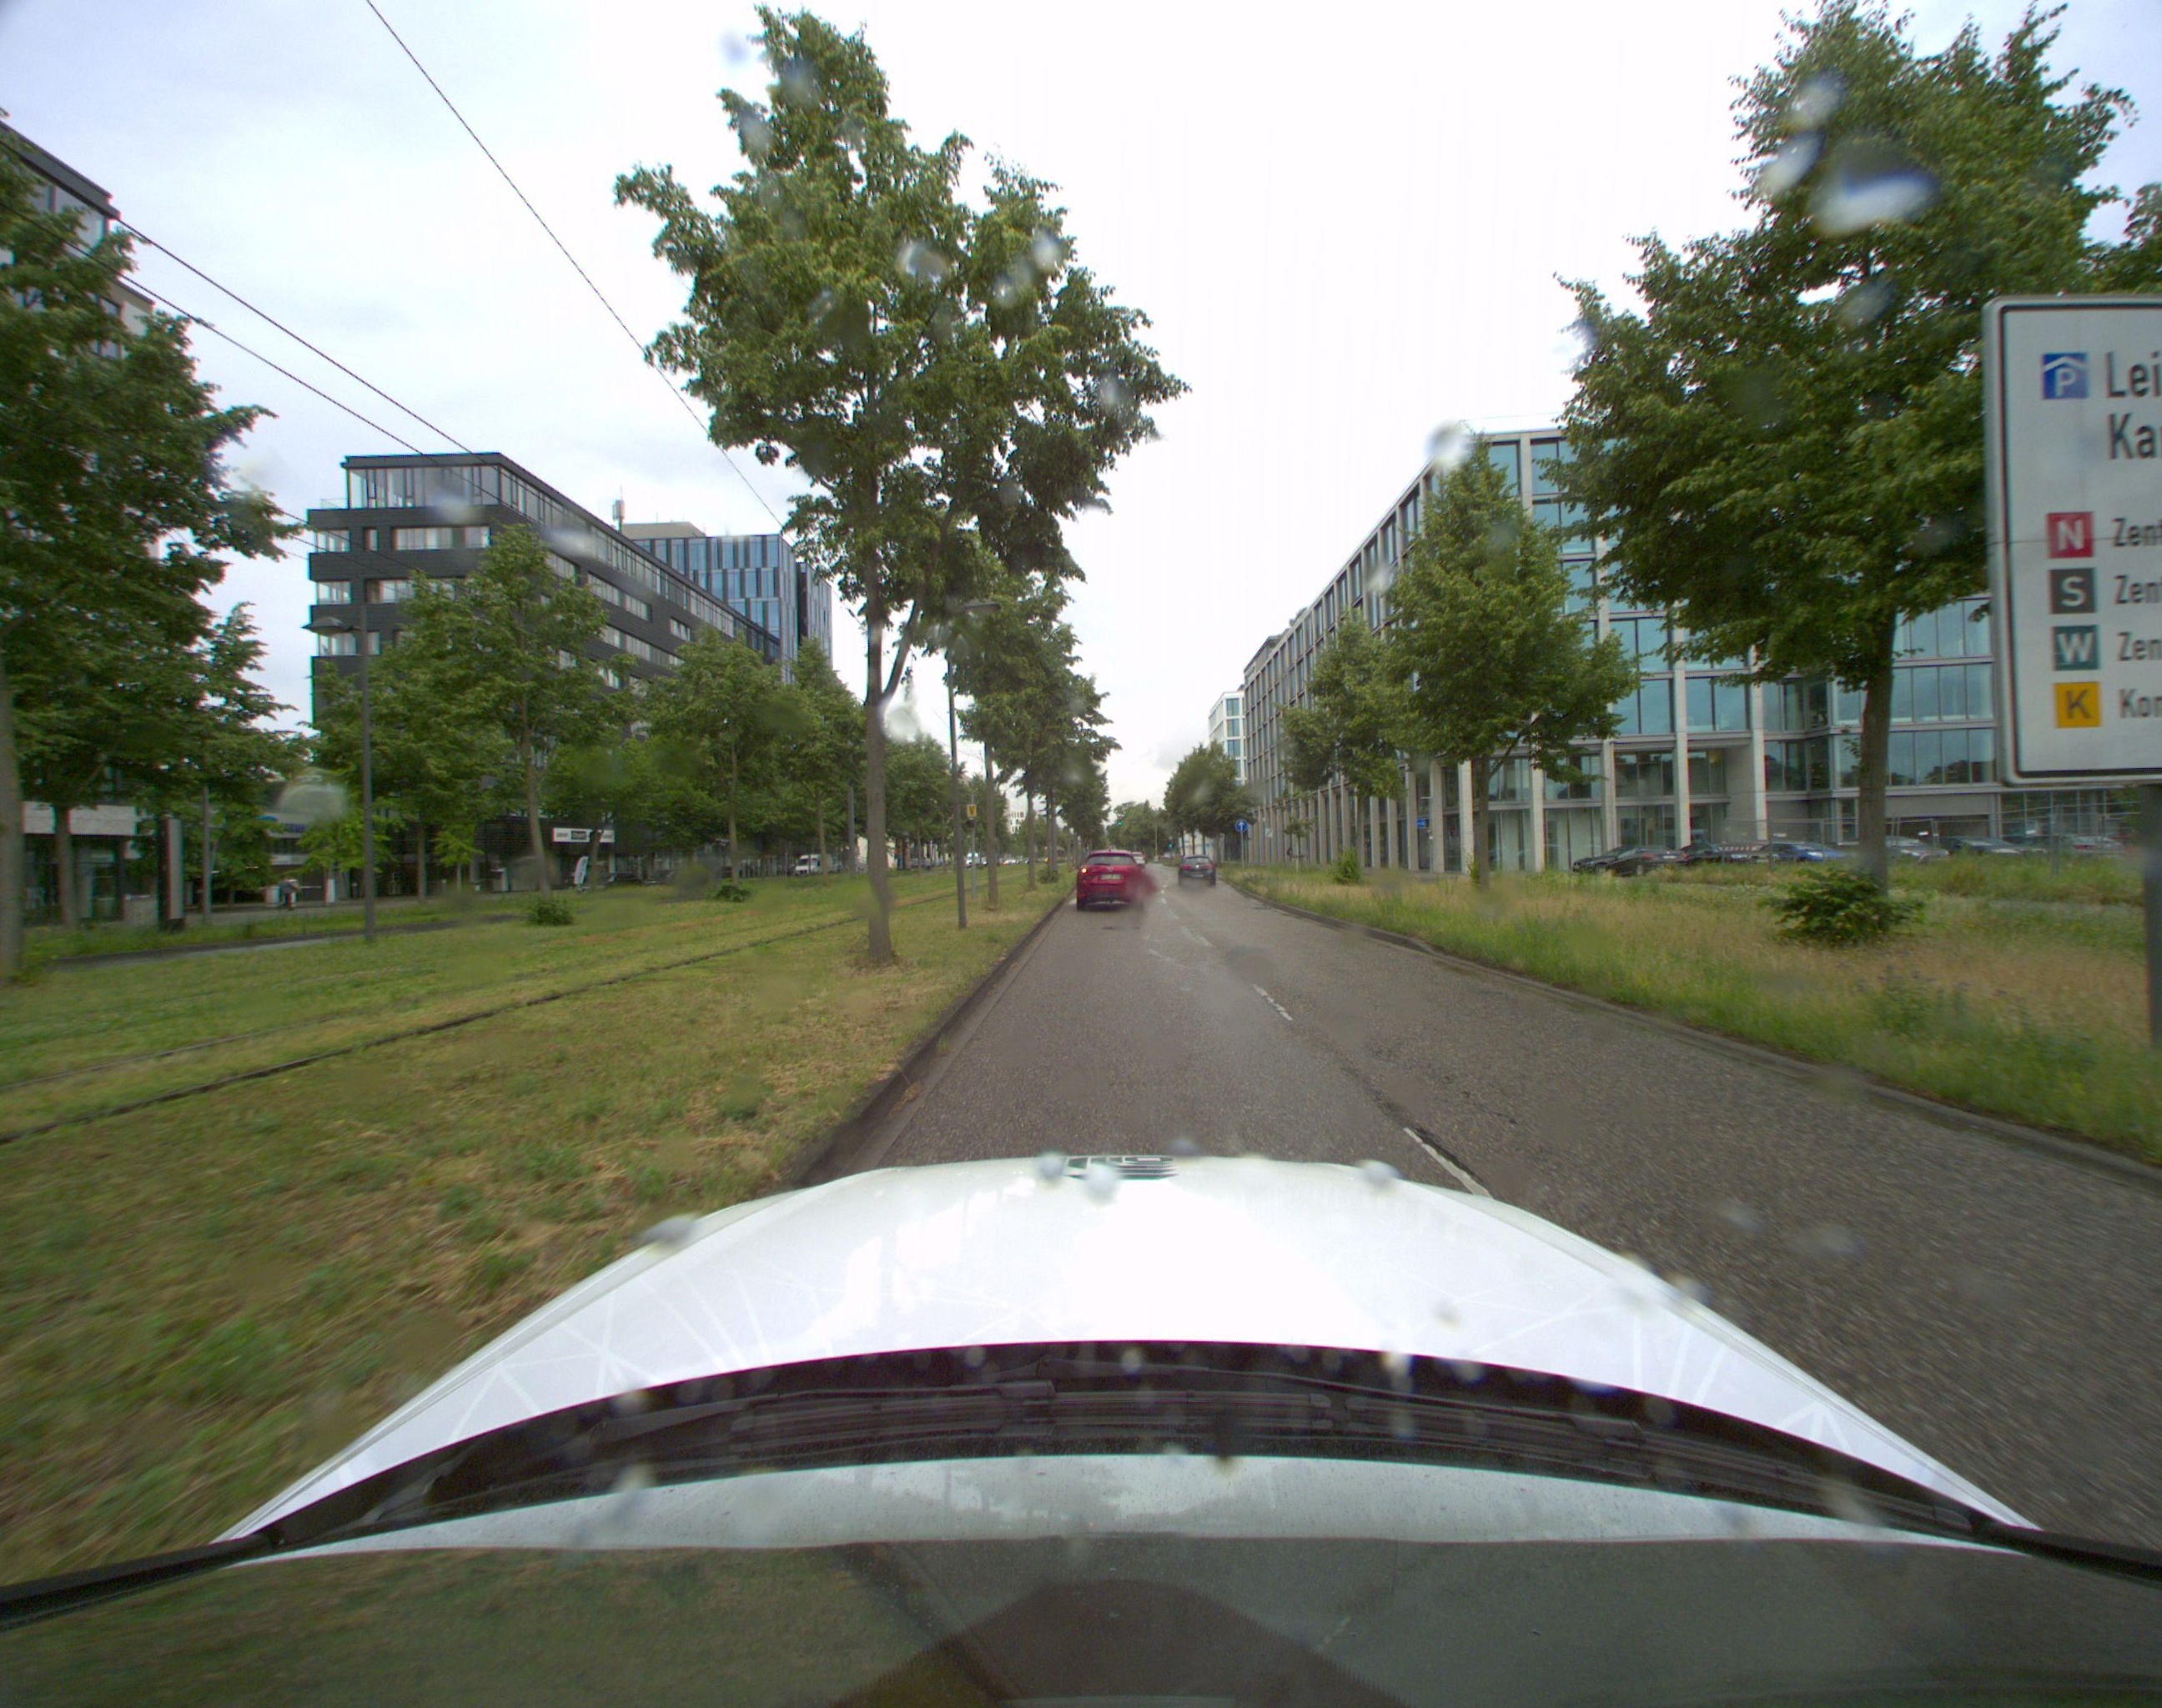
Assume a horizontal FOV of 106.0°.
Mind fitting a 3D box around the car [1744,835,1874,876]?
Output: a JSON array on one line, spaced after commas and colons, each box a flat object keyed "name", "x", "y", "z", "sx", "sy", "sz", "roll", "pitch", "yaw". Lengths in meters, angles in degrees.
[{"name": "car", "x": 28.567, "y": 0.066, "z": 32.129, "sx": 1.845, "sy": 1.455, "sz": 4.008, "roll": -2, "pitch": 0, "yaw": 7}]

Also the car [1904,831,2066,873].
[{"name": "car", "x": 34.298, "y": -0.075, "z": 31.089, "sx": 1.776, "sy": 1.475, "sz": 4.238, "roll": -2, "pitch": 0, "yaw": 7}]

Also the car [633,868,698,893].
[{"name": "car", "x": -26.521, "y": 1.673, "z": 52.093, "sx": 1.986, "sy": 1.378, "sz": 4.001, "roll": -1, "pitch": 0, "yaw": 1}]

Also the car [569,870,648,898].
[{"name": "car", "x": -26.373, "y": 1.665, "z": 45.599, "sx": 1.986, "sy": 1.378, "sz": 4.001, "roll": -1, "pitch": 0, "yaw": 1}]

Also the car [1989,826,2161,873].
[{"name": "car", "x": 37.088, "y": -0.169, "z": 30.537, "sx": 1.845, "sy": 1.601, "sz": 4.008, "roll": -2, "pitch": 0, "yaw": 7}]

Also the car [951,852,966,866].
[{"name": "car", "x": -22.763, "y": 0.847, "z": 151.738, "sx": 2.250, "sy": 2.561, "sz": 4.650, "roll": -1, "pitch": 0, "yaw": -3}]

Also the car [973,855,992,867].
[{"name": "car", "x": -13.510, "y": 0.929, "z": 112.222, "sx": 1.856, "sy": 1.524, "sz": 4.481, "roll": -2, "pitch": 0, "yaw": 2}]

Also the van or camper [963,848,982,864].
[{"name": "van or camper", "x": -16.974, "y": 0.251, "z": 127.781, "sx": 1.902, "sy": 2.410, "sz": 5.405, "roll": -2, "pitch": 0, "yaw": 2}]

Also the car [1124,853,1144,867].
[{"name": "car", "x": 5.541, "y": 0.634, "z": 85.956, "sx": 1.960, "sy": 1.437, "sz": 4.554, "roll": 0, "pitch": 0, "yaw": 1}]

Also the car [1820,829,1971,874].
[{"name": "car", "x": 31.774, "y": -0.086, "z": 31.991, "sx": 1.845, "sy": 1.601, "sz": 4.424, "roll": -2, "pitch": 0, "yaw": 7}]

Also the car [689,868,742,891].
[{"name": "car", "x": -25.924, "y": 1.774, "z": 57.908, "sx": 1.695, "sy": 1.449, "sz": 4.243, "roll": -1, "pitch": 0, "yaw": 2}]

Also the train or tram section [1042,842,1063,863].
[{"name": "train or tram section", "x": -5.324, "y": -0.249, "z": 154.154, "sx": 3.117, "sy": 3.659, "sz": 13.410, "roll": -2, "pitch": 0, "yaw": 2}]

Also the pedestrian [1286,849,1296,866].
[{"name": "pedestrian", "x": 22.080, "y": 0.392, "z": 85.668, "sx": 0.714, "sy": 1.714, "sz": 0.861, "roll": -3, "pitch": 0, "yaw": 1}]

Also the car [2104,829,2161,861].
[{"name": "car", "x": 52.357, "y": -0.477, "z": 39.064, "sx": 3.966, "sy": 1.437, "sz": 1.865, "roll": -1, "pitch": 1, "yaw": 6}]

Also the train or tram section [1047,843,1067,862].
[{"name": "train or tram section", "x": -4.896, "y": -0.252, "z": 168.357, "sx": 3.117, "sy": 3.659, "sz": 15.069, "roll": -2, "pitch": 0, "yaw": 2}]

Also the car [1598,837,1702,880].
[{"name": "car", "x": 22.843, "y": 0.158, "z": 32.906, "sx": 1.844, "sy": 1.581, "sz": 4.010, "roll": -2, "pitch": 0, "yaw": 9}]

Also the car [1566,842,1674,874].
[{"name": "car", "x": 27.521, "y": 0.186, "z": 41.678, "sx": 4.196, "sy": 1.437, "sz": 1.985, "roll": -1, "pitch": 2, "yaw": 6}]

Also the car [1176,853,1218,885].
[{"name": "car", "x": 5.560, "y": 0.692, "z": 39.405, "sx": 1.735, "sy": 1.465, "sz": 3.786, "roll": -1, "pitch": 0, "yaw": 4}]

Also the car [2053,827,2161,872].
[{"name": "car", "x": 39.350, "y": -0.186, "z": 30.299, "sx": 1.845, "sy": 1.601, "sz": 4.008, "roll": -2, "pitch": 0, "yaw": 7}]

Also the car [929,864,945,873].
[{"name": "car", "x": -24.165, "y": 2.407, "z": 136.524, "sx": 1.989, "sy": 1.484, "sz": 4.441, "roll": -1, "pitch": 0, "yaw": -3}]

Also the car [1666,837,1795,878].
[{"name": "car", "x": 25.587, "y": 0.137, "z": 32.308, "sx": 1.845, "sy": 1.455, "sz": 4.566, "roll": -2, "pitch": 0, "yaw": 7}]

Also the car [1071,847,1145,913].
[{"name": "car", "x": 0.749, "y": 0.675, "z": 23.342, "sx": 1.891, "sy": 1.677, "sz": 4.001, "roll": -1, "pitch": 0, "yaw": 1}]

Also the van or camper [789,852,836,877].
[{"name": "van or camper", "x": -25.890, "y": 0.972, "z": 78.711, "sx": 2.424, "sy": 2.315, "sz": 5.852, "roll": -1, "pitch": 0, "yaw": 2}]

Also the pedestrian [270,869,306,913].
[{"name": "pedestrian", "x": -36.516, "y": 1.697, "z": 37.525, "sx": 0.789, "sy": 1.981, "sz": 0.858, "roll": -1, "pitch": 0, "yaw": 9}]
